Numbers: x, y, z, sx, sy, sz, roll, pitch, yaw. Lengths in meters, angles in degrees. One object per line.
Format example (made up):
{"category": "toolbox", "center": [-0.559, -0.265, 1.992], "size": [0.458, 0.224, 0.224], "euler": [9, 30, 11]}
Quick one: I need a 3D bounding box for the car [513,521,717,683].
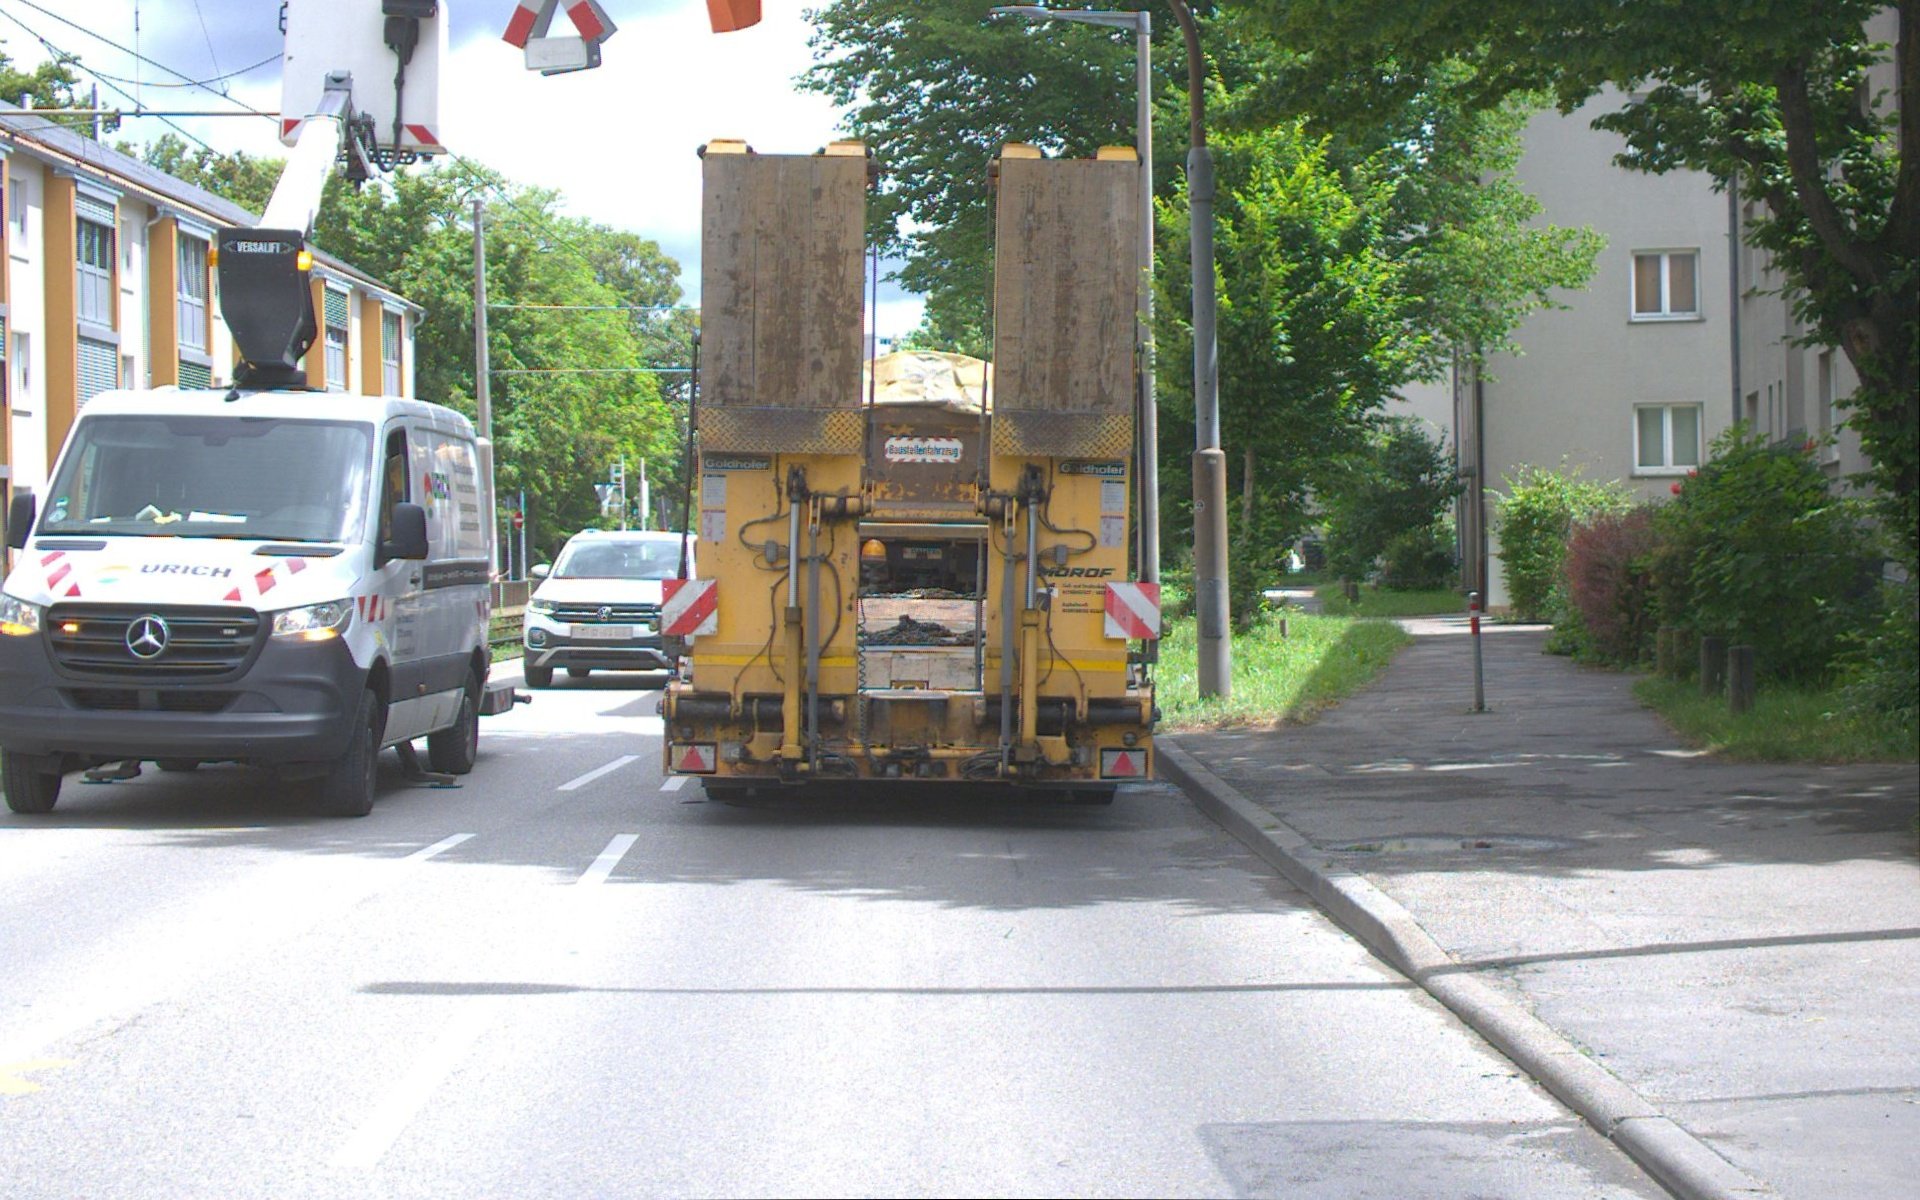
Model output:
{"category": "car", "center": [-3.481, -0.012, 35.280], "size": [1.718, 1.547, 3.917], "euler": [1, 1, 0]}

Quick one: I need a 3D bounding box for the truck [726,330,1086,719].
{"category": "truck", "center": [-0.432, -0.710, 32.277], "size": [2.917, 3.156, 7.681], "euler": [1, 1, 0]}

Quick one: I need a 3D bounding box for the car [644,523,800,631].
{"category": "car", "center": [-3.448, -0.374, 50.533], "size": [1.879, 1.476, 4.529], "euler": [1, 1, 1]}

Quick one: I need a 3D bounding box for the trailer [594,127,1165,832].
{"category": "trailer", "center": [-0.438, -0.721, 22.894], "size": [2.822, 3.512, 11.052], "euler": [1, 1, 0]}

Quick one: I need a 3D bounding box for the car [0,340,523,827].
{"category": "car", "center": [-4.023, -0.151, 20.380], "size": [1.993, 2.422, 6.322], "euler": [0, 1, 1]}
